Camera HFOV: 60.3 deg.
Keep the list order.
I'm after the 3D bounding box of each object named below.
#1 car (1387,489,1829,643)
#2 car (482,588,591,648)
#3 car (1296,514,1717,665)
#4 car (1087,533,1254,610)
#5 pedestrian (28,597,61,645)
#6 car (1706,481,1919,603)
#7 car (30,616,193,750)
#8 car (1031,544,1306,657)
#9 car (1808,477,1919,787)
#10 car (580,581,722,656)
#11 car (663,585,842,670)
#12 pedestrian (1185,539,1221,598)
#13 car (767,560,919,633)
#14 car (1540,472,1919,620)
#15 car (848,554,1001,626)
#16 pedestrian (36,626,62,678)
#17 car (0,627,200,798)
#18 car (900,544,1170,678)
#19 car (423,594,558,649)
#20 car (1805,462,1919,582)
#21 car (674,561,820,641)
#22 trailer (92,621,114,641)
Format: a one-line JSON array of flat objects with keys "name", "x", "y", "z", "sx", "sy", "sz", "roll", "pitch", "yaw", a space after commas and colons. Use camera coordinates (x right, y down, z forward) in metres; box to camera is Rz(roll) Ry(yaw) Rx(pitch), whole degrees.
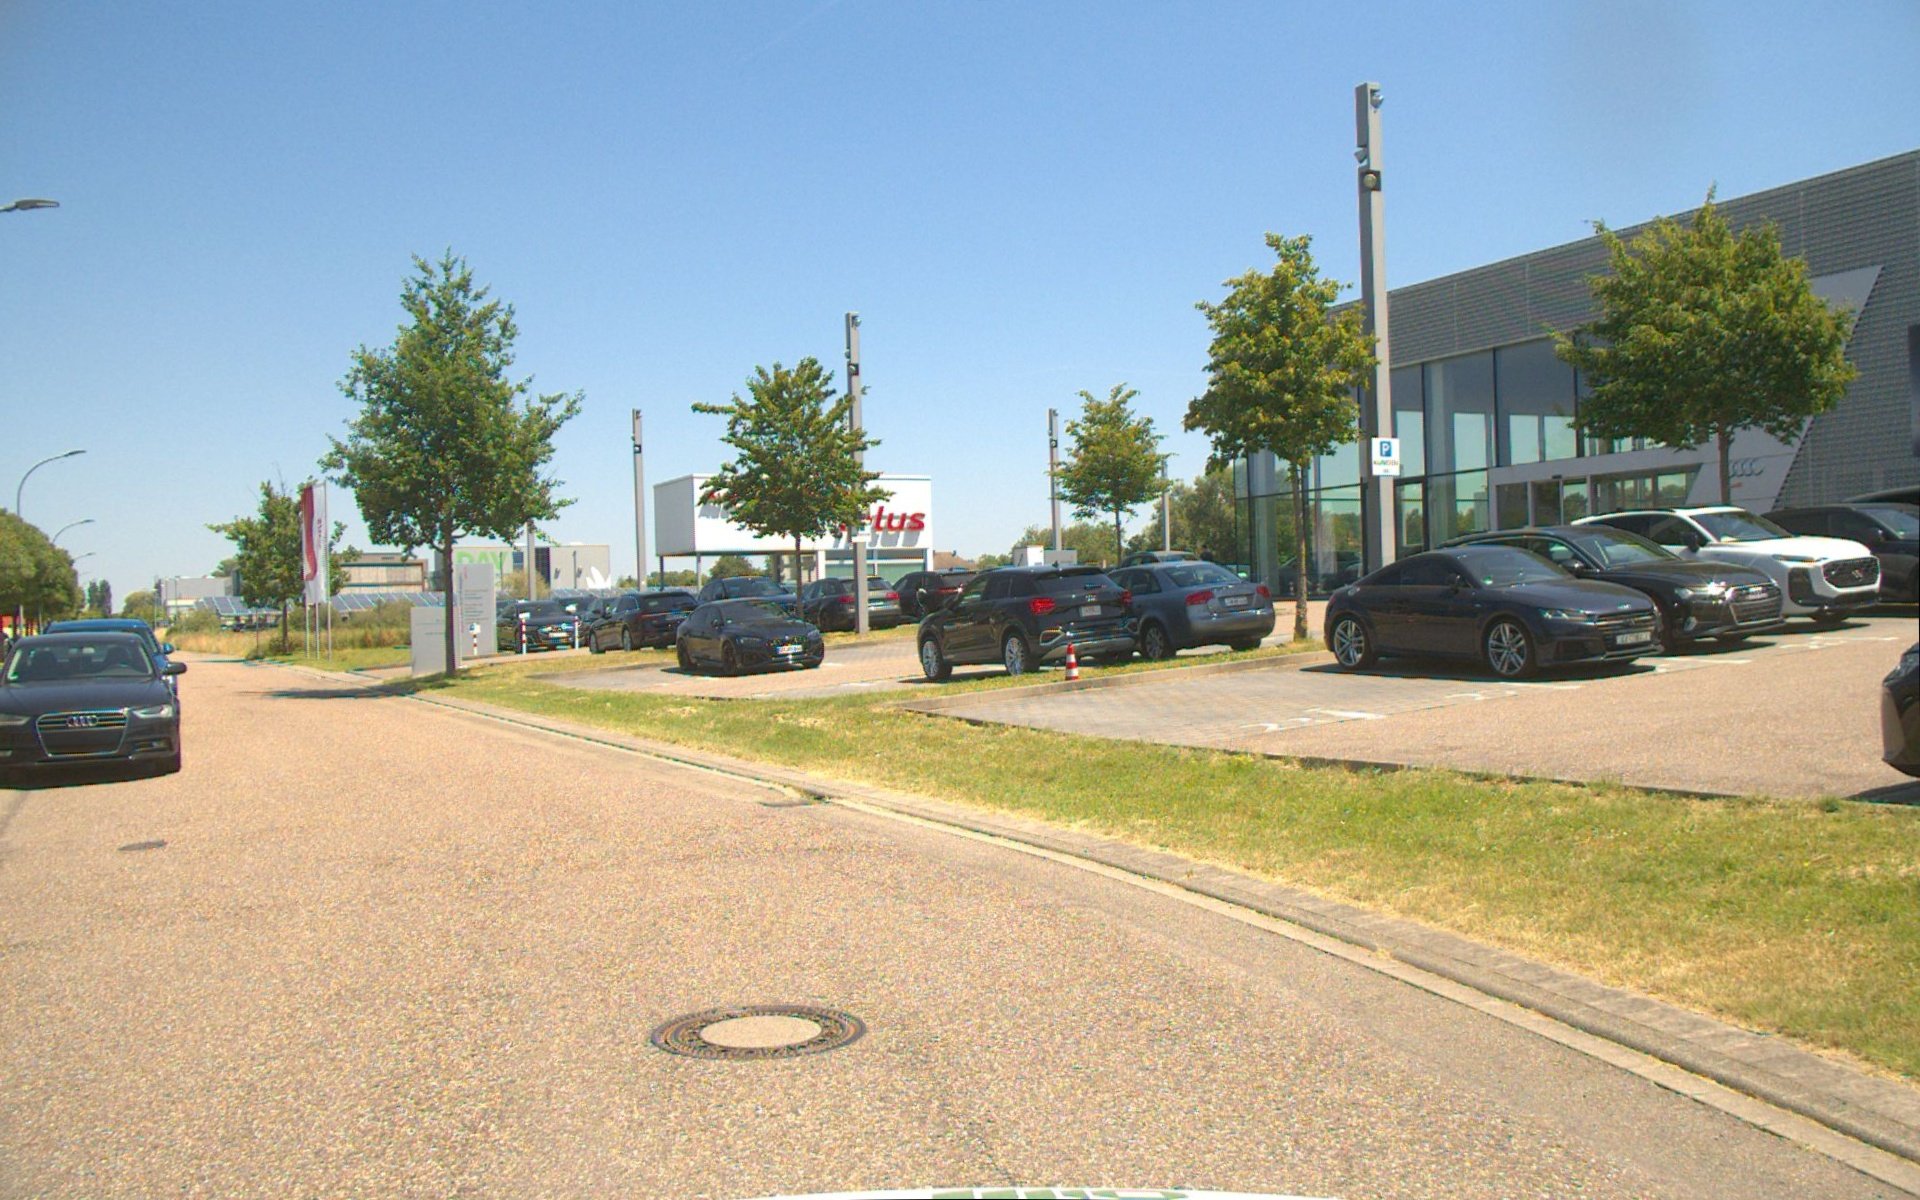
[{"name": "car", "x": 7.775, "y": -0.351, "z": 20.429, "sx": 1.940, "sy": 1.580, "sz": 4.957, "roll": -4, "pitch": 1, "yaw": -29}, {"name": "car", "x": -12.852, "y": 0.558, "z": 49.954, "sx": 2.002, "sy": 1.540, "sz": 5.192, "roll": -6, "pitch": 1, "yaw": -27}, {"name": "car", "x": 5.943, "y": -0.089, "z": 18.516, "sx": 1.940, "sy": 1.398, "sz": 4.270, "roll": -4, "pitch": 1, "yaw": -29}, {"name": "car", "x": 5.615, "y": -0.731, "z": 44.872, "sx": 1.939, "sy": 1.649, "sz": 4.940, "roll": -4, "pitch": -1, "yaw": -28}, {"name": "pedestrian", "x": -39.341, "y": 0.900, "z": 71.061, "sx": 0.822, "sy": 2.007, "sz": 0.965, "roll": -1, "pitch": -1, "yaw": 12}, {"name": "car", "x": 12.616, "y": -0.809, "z": 22.321, "sx": 1.940, "sy": 1.502, "sz": 4.330, "roll": -4, "pitch": 1, "yaw": -29}, {"name": "car", "x": -11.831, "y": 1.081, "z": 23.006, "sx": 1.804, "sy": 1.597, "sz": 4.344, "roll": -3, "pitch": 0, "yaw": -29}, {"name": "car", "x": 3.004, "y": 0.024, "z": 24.699, "sx": 1.941, "sy": 1.390, "sz": 4.187, "roll": -6, "pitch": 2, "yaw": -29}, {"name": "car", "x": 6.303, "y": 0.054, "z": 6.602, "sx": 1.859, "sy": 1.479, "sz": 4.975, "roll": -5, "pitch": 1, "yaw": -29}, {"name": "car", "x": -7.483, "y": 0.484, "z": 39.668, "sx": 1.939, "sy": 1.482, "sz": 4.940, "roll": -4, "pitch": -1, "yaw": -28}, {"name": "car", "x": -4.203, "y": 0.500, "z": 32.882, "sx": 1.940, "sy": 1.390, "sz": 4.677, "roll": -6, "pitch": 3, "yaw": -28}, {"name": "pedestrian", "x": 7.710, "y": -1.002, "z": 52.467, "sx": 0.760, "sy": 1.807, "sz": 0.740, "roll": -3, "pitch": 0, "yaw": -23}, {"name": "car", "x": -3.038, "y": -0.047, "z": 41.834, "sx": 1.939, "sy": 1.482, "sz": 4.940, "roll": -4, "pitch": -1, "yaw": -28}, {"name": "car", "x": 10.029, "y": -0.652, "z": 21.807, "sx": 1.940, "sy": 1.641, "sz": 4.247, "roll": -4, "pitch": 1, "yaw": -29}, {"name": "car", "x": -1.000, "y": -0.216, "z": 42.966, "sx": 1.939, "sy": 1.482, "sz": 4.940, "roll": -4, "pitch": -1, "yaw": -28}, {"name": "pedestrian", "x": -32.516, "y": 1.848, "z": 59.067, "sx": 0.735, "sy": 1.833, "sz": 1.125, "roll": 0, "pitch": -1, "yaw": -26}, {"name": "car", "x": -9.224, "y": 1.084, "z": 17.505, "sx": 1.804, "sy": 1.480, "sz": 4.537, "roll": -3, "pitch": 0, "yaw": -29}, {"name": "car", "x": 0.957, "y": 0.165, "z": 23.561, "sx": 1.867, "sy": 1.598, "sz": 4.187, "roll": -6, "pitch": 2, "yaw": -29}, {"name": "car", "x": -17.628, "y": 0.791, "z": 62.165, "sx": 4.482, "sy": 1.722, "sz": 2.011, "roll": -4, "pitch": 0, "yaw": -30}, {"name": "car", "x": 15.612, "y": -1.282, "z": 25.053, "sx": 1.940, "sy": 1.769, "sz": 4.683, "roll": -4, "pitch": 1, "yaw": -29}, {"name": "car", "x": -5.369, "y": 0.065, "z": 41.127, "sx": 1.939, "sy": 1.625, "sz": 4.940, "roll": -4, "pitch": -1, "yaw": -28}, {"name": "trailer", "x": -99.539, "y": 3.621, "z": 192.036, "sx": 2.176, "sy": 2.174, "sz": 4.246, "roll": -3, "pitch": 0, "yaw": -28}]
